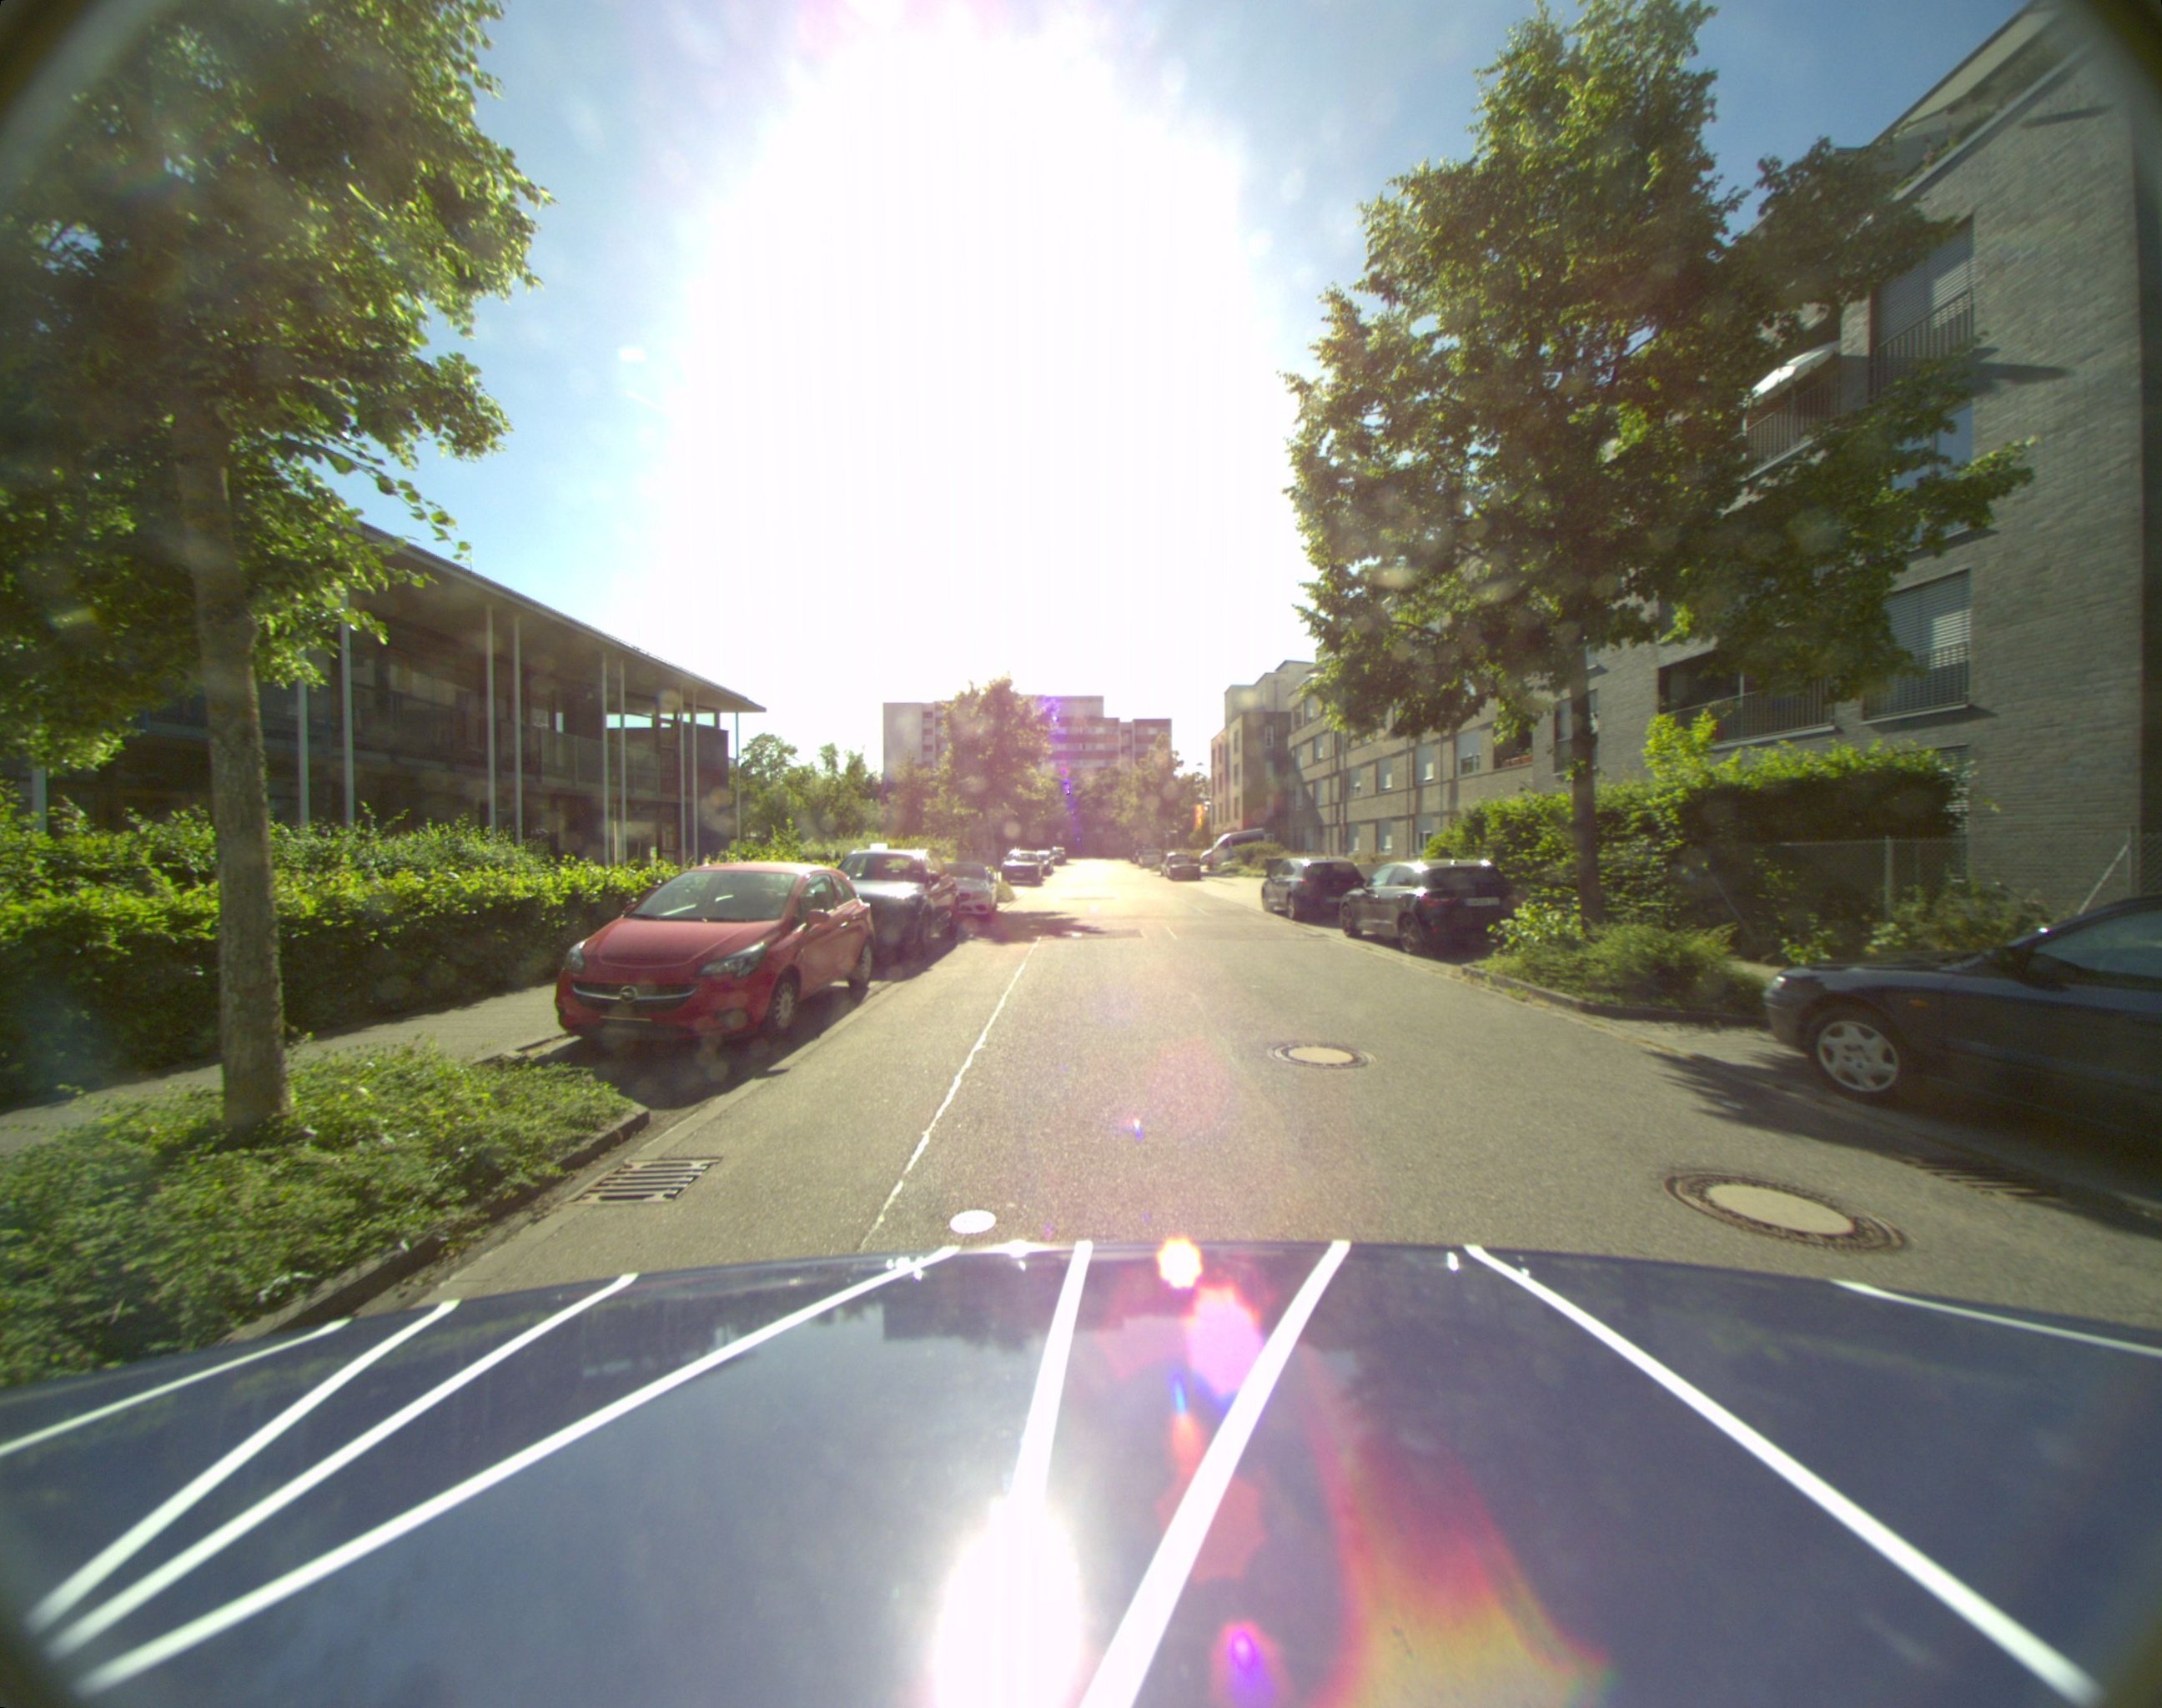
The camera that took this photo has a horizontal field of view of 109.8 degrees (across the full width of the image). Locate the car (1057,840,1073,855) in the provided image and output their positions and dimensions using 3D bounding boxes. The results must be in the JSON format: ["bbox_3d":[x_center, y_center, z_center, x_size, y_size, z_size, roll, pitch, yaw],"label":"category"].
[{"bbox_3d":[-1.724,-0.728,84.059,1.645,1.459,3.702,3,2,0],"label":"car"}]

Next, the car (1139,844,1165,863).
[{"bbox_3d":[6.314,-0.076,67.754,1.795,1.590,3.888,-2,1,-2],"label":"car"}]

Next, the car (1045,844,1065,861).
[{"bbox_3d":[-2.452,-0.168,72.095,1.645,1.459,3.702,3,2,0],"label":"car"}]

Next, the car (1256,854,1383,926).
[{"bbox_3d":[5.737,0.787,18.809,1.845,1.465,4.099,-2,1,0],"label":"car"}]

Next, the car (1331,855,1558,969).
[{"bbox_3d":[5.764,0.819,12.676,1.845,1.465,4.026,-2,1,0],"label":"car"}]

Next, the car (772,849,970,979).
[{"bbox_3d":[-3.168,0.800,12.469,1.905,1.673,4.410,1,1,1],"label":"car"}]

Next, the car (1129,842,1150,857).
[{"bbox_3d":[6.320,-0.513,81.765,1.795,1.509,3.888,-2,1,-2],"label":"car"}]

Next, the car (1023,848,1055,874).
[{"bbox_3d":[-2.741,0.397,50.050,1.823,1.459,3.840,3,2,0],"label":"car"}]

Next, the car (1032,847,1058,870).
[{"bbox_3d":[-2.664,0.329,56.402,1.645,1.459,3.702,3,2,0],"label":"car"}]

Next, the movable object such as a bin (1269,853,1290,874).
[{"bbox_3d":[10.400,0.513,39.795,0.862,1.032,0.677,-3,1,-2],"label":"movable object such as a bin"}]

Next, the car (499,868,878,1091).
[{"bbox_3d":[-3.320,0.940,7.370,1.679,1.495,3.846,0,0,0],"label":"car"}]

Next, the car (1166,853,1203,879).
[{"bbox_3d":[5.744,0.629,42.541,1.631,1.240,3.562,-3,1,1],"label":"car"}]

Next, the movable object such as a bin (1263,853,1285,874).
[{"bbox_3d":[10.295,0.497,40.544,0.921,1.032,0.681,-3,1,-2],"label":"movable object such as a bin"}]

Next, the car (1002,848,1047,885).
[{"bbox_3d":[-2.780,0.562,38.156,1.823,1.638,4.488,3,1,0],"label":"car"}]

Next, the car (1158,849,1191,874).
[{"bbox_3d":[5.880,0.447,47.844,1.631,1.515,3.562,0,1,0],"label":"car"}]

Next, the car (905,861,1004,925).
[{"bbox_3d":[-3.149,0.915,19.843,1.968,1.312,4.774,2,1,-3],"label":"car"}]

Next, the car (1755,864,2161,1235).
[{"bbox_3d":[5.529,0.868,3.017,1.845,1.465,4.359,-2,1,1],"label":"car"}]

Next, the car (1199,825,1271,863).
[{"bbox_3d":[11.858,-0.781,58.643,5.153,2.886,2.013,0,1,-3],"label":"car"}]

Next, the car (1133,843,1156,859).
[{"bbox_3d":[6.366,-0.336,76.590,1.795,1.509,3.888,-2,1,-2],"label":"car"}]
